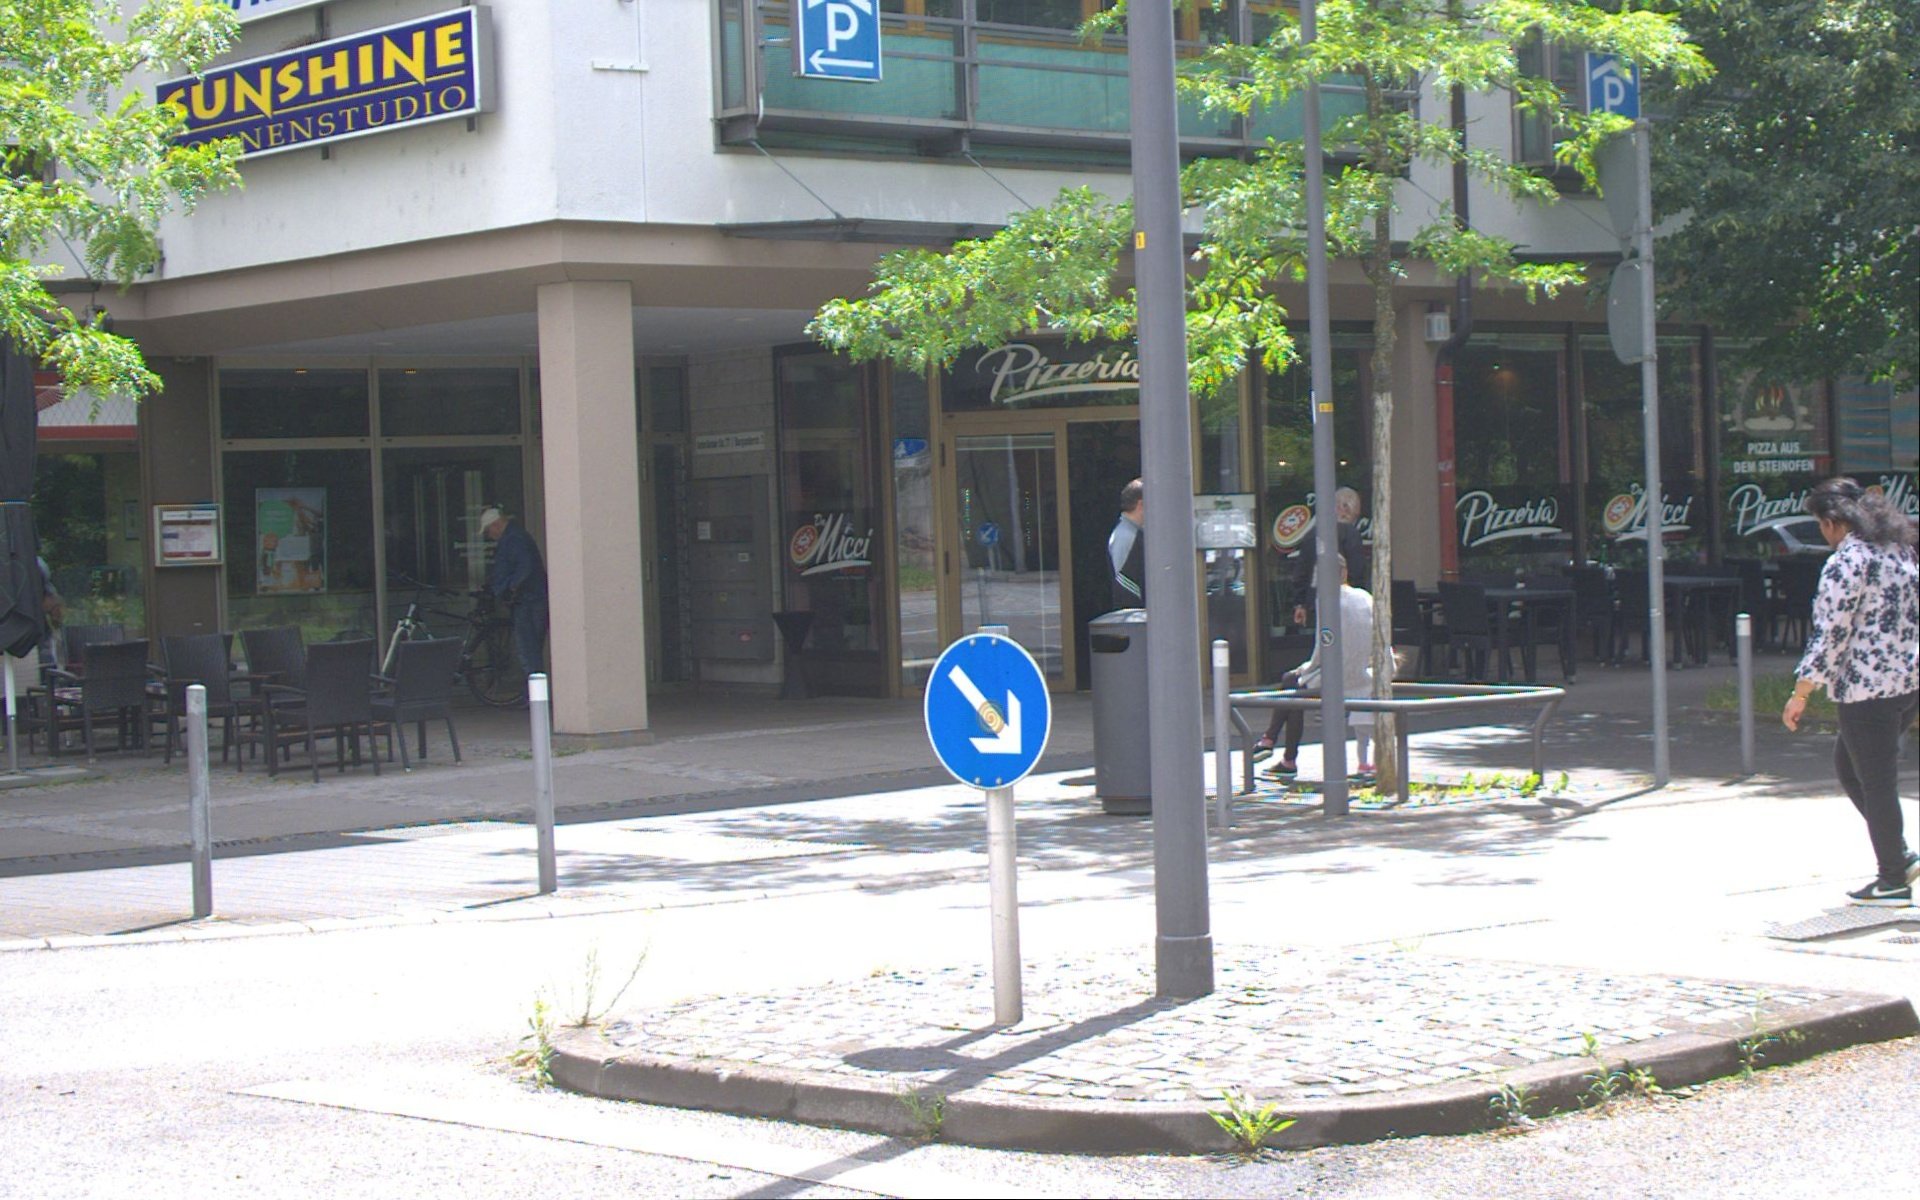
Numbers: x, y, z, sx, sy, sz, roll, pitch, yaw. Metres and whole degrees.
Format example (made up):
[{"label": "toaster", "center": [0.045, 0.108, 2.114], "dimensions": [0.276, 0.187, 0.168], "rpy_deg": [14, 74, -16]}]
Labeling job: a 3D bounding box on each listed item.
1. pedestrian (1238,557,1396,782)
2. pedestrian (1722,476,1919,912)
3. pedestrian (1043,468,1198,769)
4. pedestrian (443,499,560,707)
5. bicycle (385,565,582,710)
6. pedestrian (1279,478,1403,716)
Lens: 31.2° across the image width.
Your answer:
[{"label": "pedestrian", "center": [2.099, 0.395, 20.220], "dimensions": [0.615, 1.280, 0.698], "rpy_deg": [-1, 1, -31]}, {"label": "pedestrian", "center": [3.252, 0.327, 12.617], "dimensions": [0.763, 1.548, 0.779], "rpy_deg": [-1, 1, 4]}, {"label": "pedestrian", "center": [0.990, 0.102, 21.228], "dimensions": [0.615, 1.812, 0.698], "rpy_deg": [-3, 2, -38]}, {"label": "pedestrian", "center": [-3.755, 0.016, 28.156], "dimensions": [0.696, 1.669, 0.617], "rpy_deg": [-2, 2, -44]}, {"label": "bicycle", "center": [-3.903, 0.305, 28.208], "dimensions": [1.538, 1.164, 0.496], "rpy_deg": [-1, 0, 0]}, {"label": "pedestrian", "center": [2.729, -0.031, 24.606], "dimensions": [0.616, 1.669, 0.696], "rpy_deg": [0, 1, 34]}]
